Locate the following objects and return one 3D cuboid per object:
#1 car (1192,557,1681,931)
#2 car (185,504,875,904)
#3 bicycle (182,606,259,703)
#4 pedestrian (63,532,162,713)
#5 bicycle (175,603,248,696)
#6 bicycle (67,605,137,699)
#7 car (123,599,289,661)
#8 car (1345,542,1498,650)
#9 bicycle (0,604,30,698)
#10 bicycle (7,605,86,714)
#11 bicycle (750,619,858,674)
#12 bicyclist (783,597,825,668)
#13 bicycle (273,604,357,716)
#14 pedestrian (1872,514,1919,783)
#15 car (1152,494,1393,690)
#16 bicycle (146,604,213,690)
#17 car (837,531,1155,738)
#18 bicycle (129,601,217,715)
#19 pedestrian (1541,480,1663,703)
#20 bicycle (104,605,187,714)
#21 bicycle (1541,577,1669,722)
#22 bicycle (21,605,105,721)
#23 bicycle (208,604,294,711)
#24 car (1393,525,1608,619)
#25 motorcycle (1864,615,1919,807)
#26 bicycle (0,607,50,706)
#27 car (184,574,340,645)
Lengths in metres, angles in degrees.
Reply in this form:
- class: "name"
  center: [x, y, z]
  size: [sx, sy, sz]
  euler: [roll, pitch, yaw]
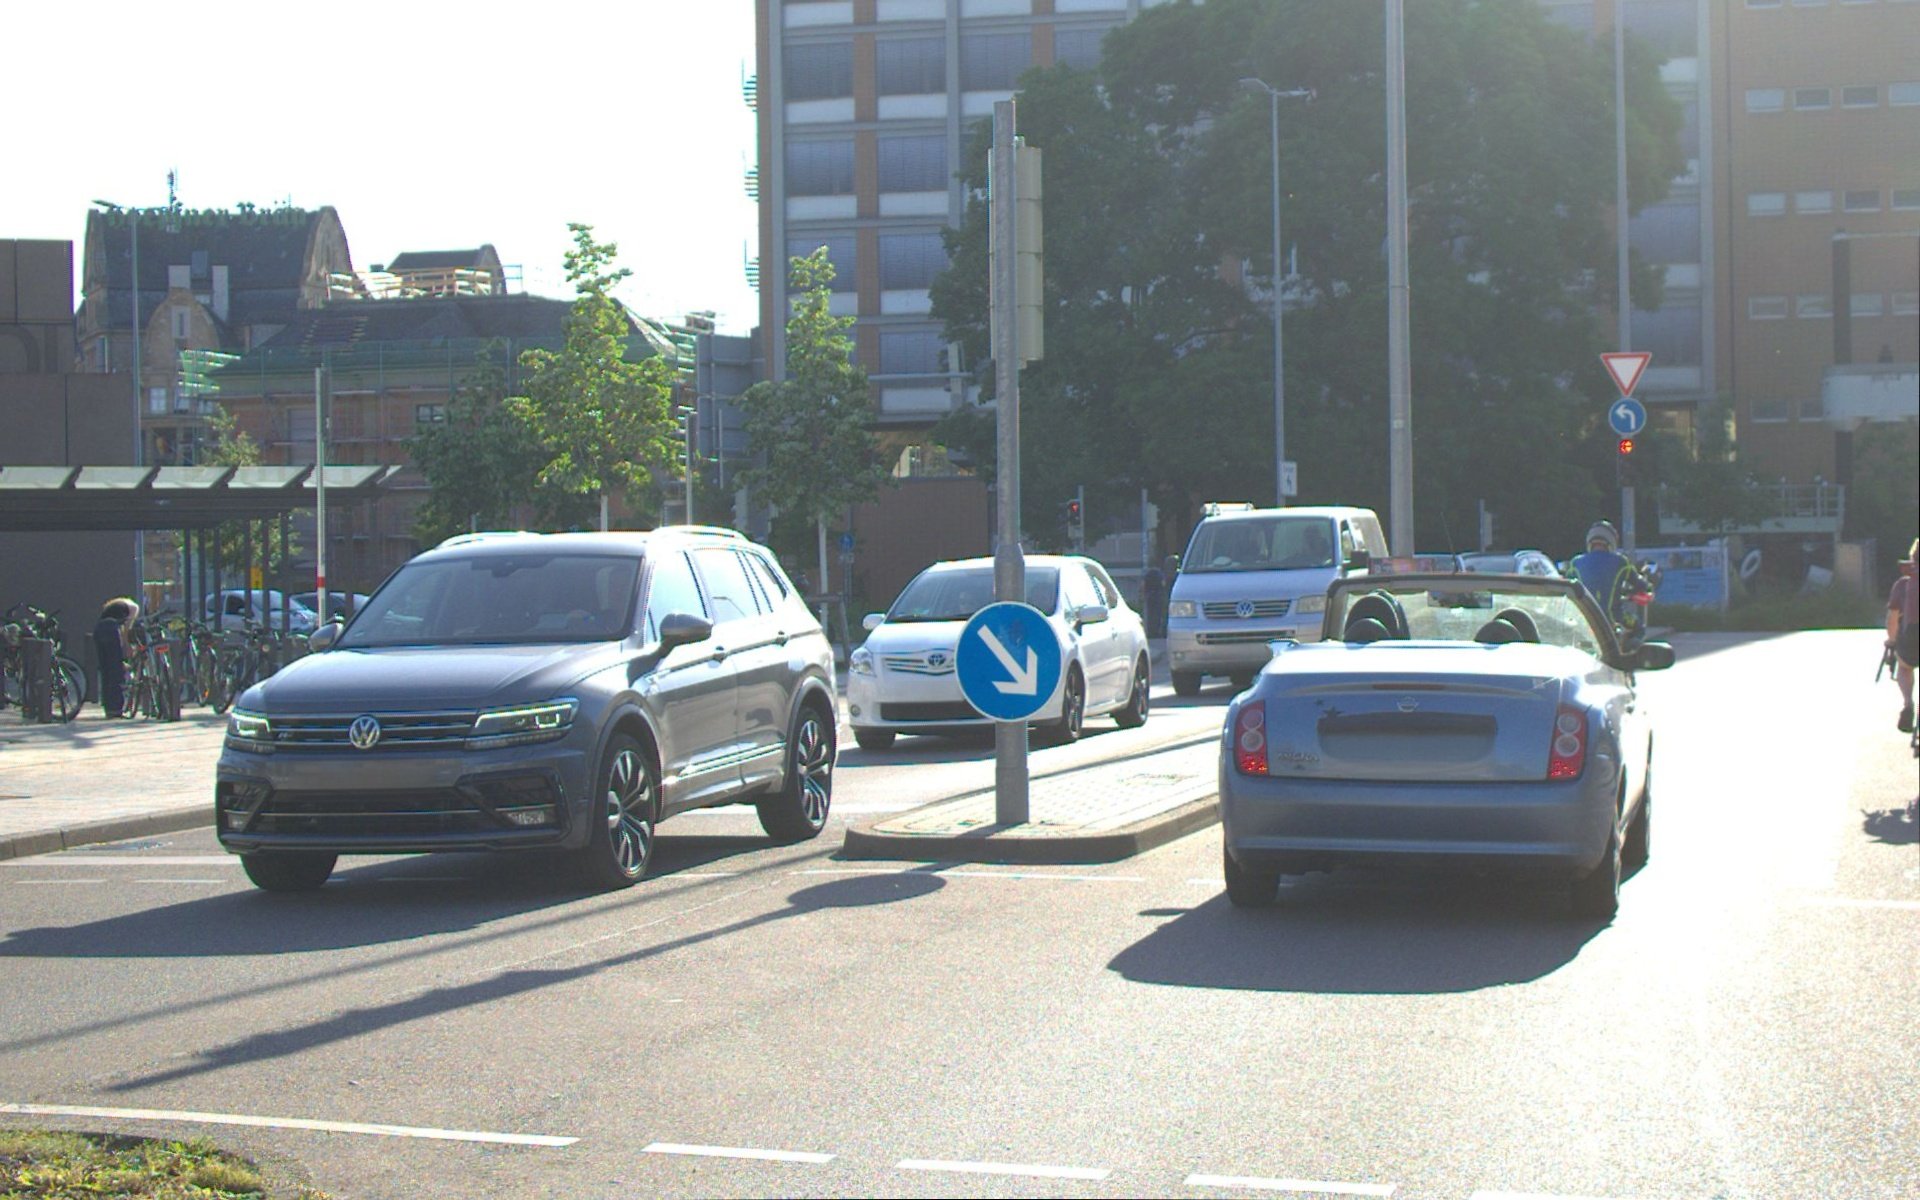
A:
- class: "car"
  center: [2.298, 0.568, 15.656]
  size: [1.661, 1.436, 4.151]
  euler: [1, 0, 15]
- class: "car"
  center: [-1.955, 0.437, 17.183]
  size: [1.763, 1.700, 4.527]
  euler: [-2, 0, 15]
- class: "bicycle"
  center: [-8.818, 0.638, 40.944]
  size: [0.606, 1.111, 1.897]
  euler: [1, 0, -21]
- class: "pedestrian"
  center: [-8.893, 0.235, 36.079]
  size: [0.900, 1.862, 0.687]
  euler: [1, 0, -20]
- class: "bicycle"
  center: [-9.340, 0.605, 42.862]
  size: [0.606, 1.111, 1.897]
  euler: [1, 0, -21]
- class: "bicycle"
  center: [-10.611, 0.635, 42.471]
  size: [0.606, 1.111, 1.897]
  euler: [1, 0, -21]
- class: "car"
  center: [-20.198, 0.787, 92.129]
  size: [3.991, 1.568, 1.734]
  euler: [1, 0, 19]
- class: "car"
  center: [6.994, -0.085, 51.816]
  size: [1.800, 1.525, 3.997]
  euler: [-2, 0, 14]
- class: "bicycle"
  center: [-11.820, 0.610, 42.142]
  size: [0.606, 1.111, 1.897]
  euler: [1, 0, -21]
- class: "bicycle"
  center: [-9.760, 0.618, 36.697]
  size: [0.606, 1.111, 1.897]
  euler: [1, 0, -21]
- class: "bicycle"
  center: [-3.542, 1.048, 77.977]
  size: [2.409, 1.187, 0.609]
  euler: [1, 0, 22]
- class: "bicyclist"
  center: [-3.532, 0.733, 77.969]
  size: [0.752, 1.593, 0.589]
  euler: [1, 0, 22]
- class: "bicycle"
  center: [-6.666, 0.606, 35.487]
  size: [0.606, 1.111, 1.897]
  euler: [1, 0, -18]
- class: "pedestrian"
  center: [5.869, 0.292, 20.846]
  size: [0.588, 1.593, 1.024]
  euler: [1, 0, 13]
- class: "car"
  center: [3.491, -0.106, 37.604]
  size: [1.910, 1.938, 4.703]
  euler: [-2, 0, 13]
- class: "bicycle"
  center: [-10.510, 0.620, 46.237]
  size: [0.606, 1.111, 1.897]
  euler: [1, 0, -21]
- class: "car"
  center: [0.373, 0.243, 28.014]
  size: [1.695, 1.555, 3.977]
  euler: [-1, 1, 14]
- class: "bicycle"
  center: [-8.019, 0.582, 34.989]
  size: [0.606, 1.111, 1.897]
  euler: [1, 0, -21]
- class: "pedestrian"
  center: [5.490, -0.076, 29.361]
  size: [0.834, 1.862, 0.920]
  euler: [1, 0, 22]
- class: "bicycle"
  center: [-8.736, 0.626, 36.838]
  size: [0.606, 1.111, 1.897]
  euler: [1, 0, -21]
- class: "bicycle"
  center: [5.555, 0.412, 29.495]
  size: [0.608, 1.187, 2.412]
  euler: [1, 0, 22]
- class: "bicycle"
  center: [-9.062, 0.622, 34.698]
  size: [0.606, 1.111, 1.897]
  euler: [1, 0, -21]
- class: "bicycle"
  center: [-7.715, 0.612, 37.376]
  size: [0.606, 1.111, 1.897]
  euler: [1, 0, -21]
- class: "car"
  center: [9.420, -0.496, 59.724]
  size: [1.803, 1.525, 3.991]
  euler: [-2, 0, 41]
- class: "motorcycle"
  center: [5.853, 0.646, 20.831]
  size: [0.614, 1.094, 2.359]
  euler: [1, 0, 12]
- class: "bicycle"
  center: [-11.077, 0.646, 40.257]
  size: [0.606, 1.111, 1.897]
  euler: [1, 0, -21]
- class: "car"
  center: [-15.754, 0.215, 77.553]
  size: [3.597, 1.555, 1.641]
  euler: [0, 1, 43]
